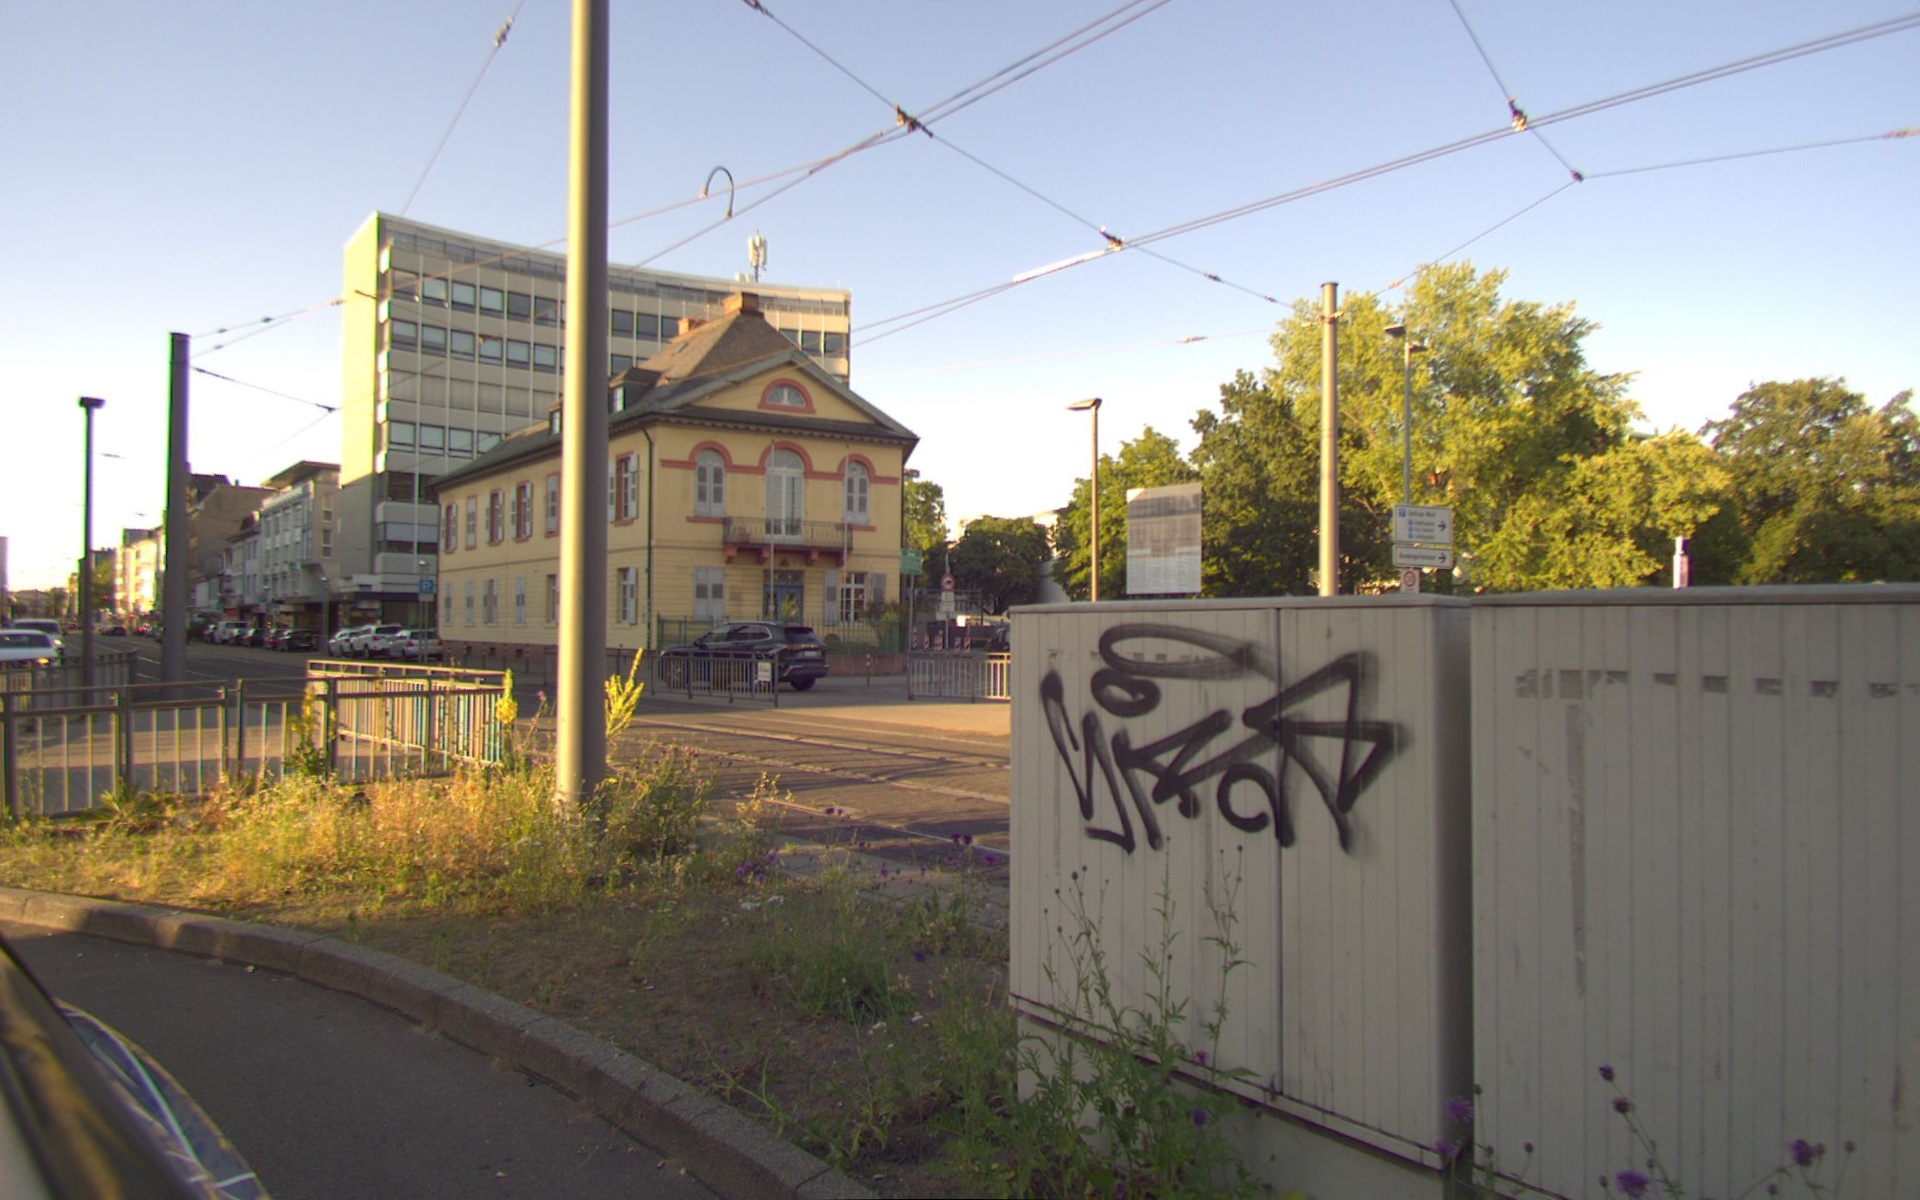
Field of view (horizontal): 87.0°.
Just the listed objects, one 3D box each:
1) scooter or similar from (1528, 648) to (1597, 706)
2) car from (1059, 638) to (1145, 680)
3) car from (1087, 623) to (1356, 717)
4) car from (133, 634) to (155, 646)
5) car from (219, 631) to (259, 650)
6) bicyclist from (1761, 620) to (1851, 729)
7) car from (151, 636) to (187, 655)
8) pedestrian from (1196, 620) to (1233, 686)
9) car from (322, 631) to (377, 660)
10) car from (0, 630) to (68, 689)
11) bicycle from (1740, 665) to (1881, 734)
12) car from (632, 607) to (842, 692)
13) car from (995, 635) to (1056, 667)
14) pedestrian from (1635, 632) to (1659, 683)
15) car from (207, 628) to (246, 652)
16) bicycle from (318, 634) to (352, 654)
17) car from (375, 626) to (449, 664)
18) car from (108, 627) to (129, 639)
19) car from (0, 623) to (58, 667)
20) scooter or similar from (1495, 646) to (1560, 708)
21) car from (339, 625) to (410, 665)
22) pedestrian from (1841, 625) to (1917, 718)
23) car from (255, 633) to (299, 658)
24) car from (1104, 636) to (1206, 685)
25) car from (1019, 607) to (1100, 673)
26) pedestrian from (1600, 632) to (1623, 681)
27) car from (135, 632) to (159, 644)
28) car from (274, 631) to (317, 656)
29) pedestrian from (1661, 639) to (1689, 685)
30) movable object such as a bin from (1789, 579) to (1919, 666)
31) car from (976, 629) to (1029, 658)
[{"bbox_3d":[13.832,1.759,23.260,1.241,1.282,0.516,0,-2,8],"label":"scooter or similar"},{"bbox_3d":[5.338,2.217,38.566,1.967,1.497,4.103,1,-2,-11],"label":"car"},{"bbox_3d":[4.899,1.249,19.131,4.570,1.597,1.979,-1,-3,31],"label":"car"},{"bbox_3d":[-108.681,5.341,134.828,1.970,1.564,4.210,2,-3,-43],"label":"car"},{"bbox_3d":[-57.383,3.211,80.489,1.970,1.477,4.562,1,-2,-44],"label":"car"},{"bbox_3d":[13.703,1.184,16.405,0.654,1.701,0.981,2,-3,-40],"label":"bicyclist"},{"bbox_3d":[-67.540,3.858,86.422,4.034,1.523,1.716,-2,-3,42],"label":"car"},{"bbox_3d":[7.466,1.554,29.711,0.717,1.907,0.768,1,-2,-19],"label":"pedestrian"},{"bbox_3d":[-33.056,2.457,54.753,1.790,1.523,4.438,3,-3,-41],"label":"car"},{"bbox_3d":[-25.207,1.546,26.980,1.970,1.469,4.003,2,-3,-44],"label":"car"},{"bbox_3d":[13.720,1.576,16.359,0.657,1.016,1.626,2,-3,-39],"label":"bicycle"},{"bbox_3d":[-5.446,1.171,24.664,4.785,1.916,1.983,-1,-2,26],"label":"car"},{"bbox_3d":[3.165,2.490,49.726,1.967,1.497,4.103,1,-2,-11],"label":"car"},{"bbox_3d":[23.054,1.926,33.952,0.599,1.671,0.529,-2,-3,39],"label":"pedestrian"},{"bbox_3d":[-62.369,3.417,86.048,1.932,1.992,5.166,3,-3,-44],"label":"car"},{"bbox_3d":[-45.706,3.198,73.997,1.945,1.436,0.834,3,-3,-45],"label":"bicycle"},{"bbox_3d":[-25.166,2.043,46.431,4.216,1.629,1.792,-2,-3,45],"label":"car"},{"bbox_3d":[-114.770,4.462,138.062,1.969,1.564,4.004,2,-3,-42],"label":"car"},{"bbox_3d":[-40.524,1.918,43.835,1.970,1.830,4.003,2,-3,-44],"label":"car"},{"bbox_3d":[13.496,1.827,24.075,1.236,1.457,0.518,1,-2,-6],"label":"scooter or similar"},{"bbox_3d":[-28.976,2.183,50.033,4.497,1.799,1.793,-2,0,43],"label":"car"},{"bbox_3d":[19.162,1.475,21.115,0.870,1.882,0.978,2,-3,-35],"label":"pedestrian"},{"bbox_3d":[-46.239,3.063,68.476,1.666,1.523,4.219,11,-9,-42],"label":"car"},{"bbox_3d":[6.405,1.973,33.787,1.967,1.497,4.009,1,-2,-11],"label":"car"},{"bbox_3d":[4.223,1.732,43.901,2.064,2.650,5.437,1,-2,-10],"label":"car"},{"bbox_3d":[22.533,1.953,35.013,0.597,1.671,0.531,-1,-3,28],"label":"pedestrian"},{"bbox_3d":[-100.951,4.711,125.665,1.970,1.564,4.004,2,-3,-43],"label":"car"},{"bbox_3d":[-42.609,2.763,64.868,1.665,1.523,4.219,2,-3,-43],"label":"car"},{"bbox_3d":[23.691,2.053,33.529,0.632,1.507,0.626,2,-3,-44],"label":"pedestrian"},{"bbox_3d":[35.780,0.899,39.890,1.965,3.254,4.357,1,-2,-29],"label":"movable object such as a bin"},{"bbox_3d":[2.228,2.316,54.227,1.967,1.497,4.103,1,-2,-11],"label":"car"}]
